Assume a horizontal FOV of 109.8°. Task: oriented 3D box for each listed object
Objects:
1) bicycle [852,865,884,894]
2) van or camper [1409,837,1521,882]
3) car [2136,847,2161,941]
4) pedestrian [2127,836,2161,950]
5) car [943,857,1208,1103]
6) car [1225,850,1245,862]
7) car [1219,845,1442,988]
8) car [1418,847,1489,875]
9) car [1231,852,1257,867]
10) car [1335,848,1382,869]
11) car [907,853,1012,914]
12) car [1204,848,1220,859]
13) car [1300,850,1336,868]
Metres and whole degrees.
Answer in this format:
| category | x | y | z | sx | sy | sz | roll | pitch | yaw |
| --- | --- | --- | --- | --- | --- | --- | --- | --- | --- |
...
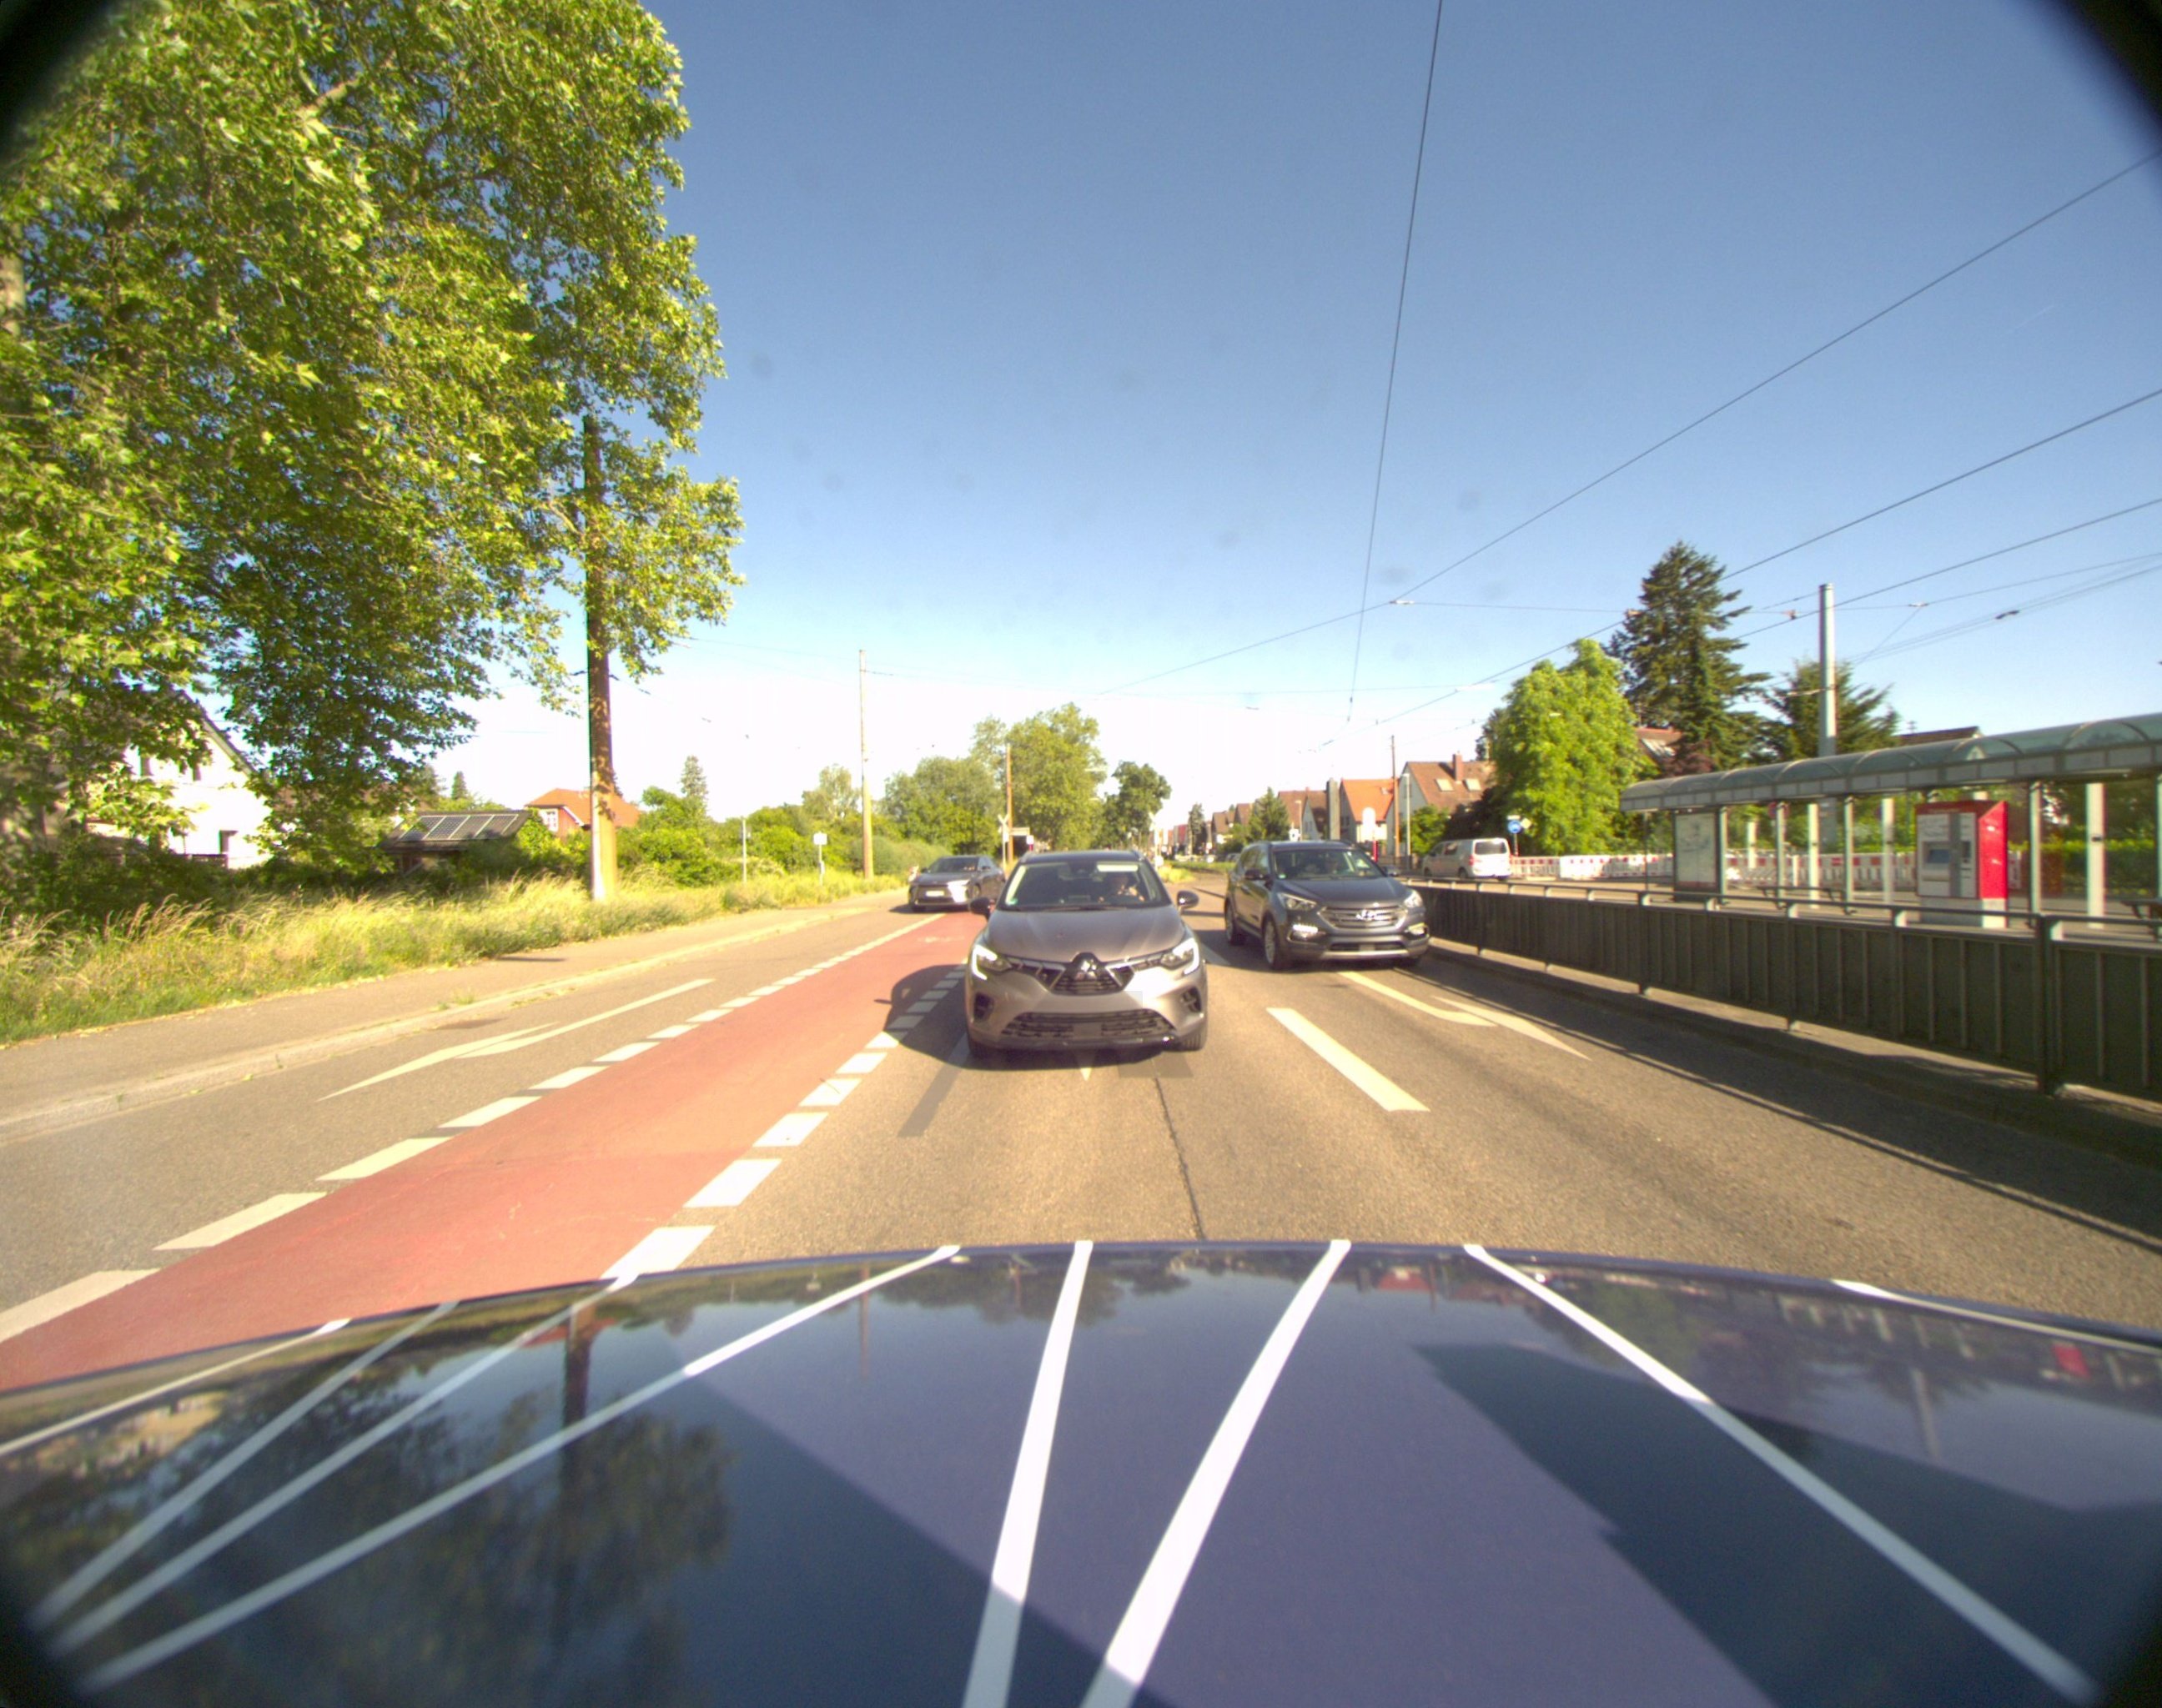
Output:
| category | x | y | z | sx | sy | sz | roll | pitch | yaw |
| --- | --- | --- | --- | --- | --- | --- | --- | --- | --- |
| bicycle | -8.559 | 1.021 | 30.445 | 0.367 | 1.128 | 2.090 | -1 | 0 | -41 |
| van or camper | 17.158 | 0.235 | 34.397 | 1.998 | 1.817 | 5.987 | -1 | 0 | 0 |
| car | 16.887 | 0.586 | 9.586 | 1.608 | 1.394 | 4.017 | -1 | 0 | 1 |
| pedestrian | 14.227 | 0.503 | 9.424 | 1.063 | 1.444 | 1.007 | 1 | 1 | 0 |
| car | -0.047 | 0.821 | 6.705 | 1.673 | 1.529 | 3.586 | -2 | 0 | -1 |
| car | 21.796 | 0.270 | 107.411 | 1.888 | 1.552 | 4.536 | -3 | 0 | 0 |
| car | 3.270 | 0.727 | 10.898 | 1.780 | 1.620 | 4.288 | -1 | 0 | 0 |
| car | 21.877 | 0.381 | 44.825 | 1.999 | 1.492 | 4.067 | -3 | 1 | -2 |
| car | 16.939 | 0.527 | 78.919 | 1.740 | 1.511 | 4.344 | -1 | 0 | 0 |
| car | 21.714 | 0.346 | 59.678 | 1.888 | 1.464 | 4.613 | -3 | 1 | -1 |
| car | -3.485 | 0.793 | 22.679 | 1.769 | 1.621 | 4.501 | -1 | 0 | 9 |
| car | 22.065 | -0.094 | 127.960 | 1.998 | 1.852 | 4.584 | -2 | 0 | 1 |
| car | 21.616 | 0.410 | 69.381 | 1.912 | 1.457 | 4.440 | -3 | 1 | 0 |
